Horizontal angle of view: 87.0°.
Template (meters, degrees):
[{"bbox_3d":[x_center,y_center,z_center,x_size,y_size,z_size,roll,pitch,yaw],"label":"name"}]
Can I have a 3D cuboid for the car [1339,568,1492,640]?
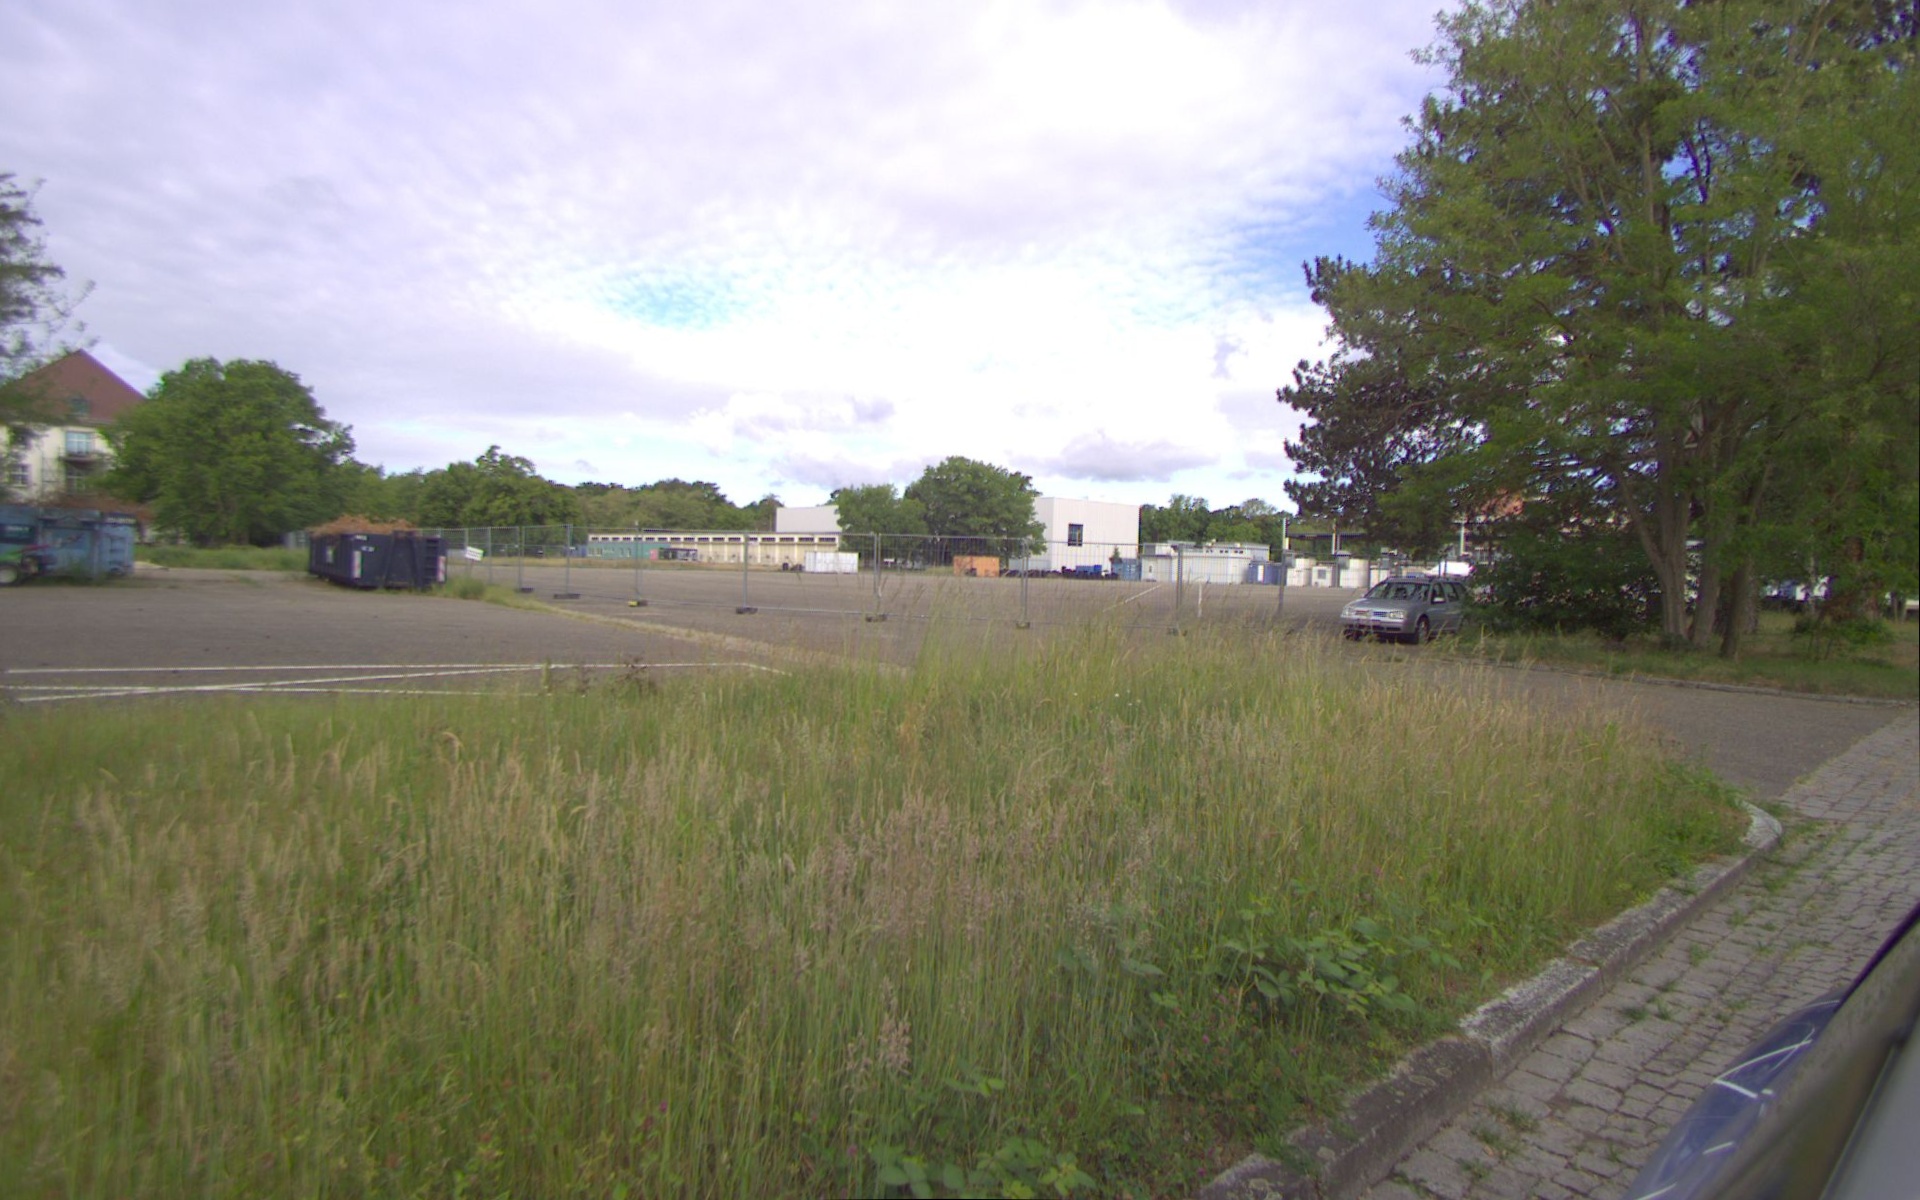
[{"bbox_3d":[10.549,0.042,23.295,4.415,1.468,1.676,-1,3,-44],"label":"car"}]

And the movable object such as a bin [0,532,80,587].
[{"bbox_3d":[-20.304,-0.860,21.600,0.958,1.148,2.181,1,1,40],"label":"movable object such as a bin"}]
